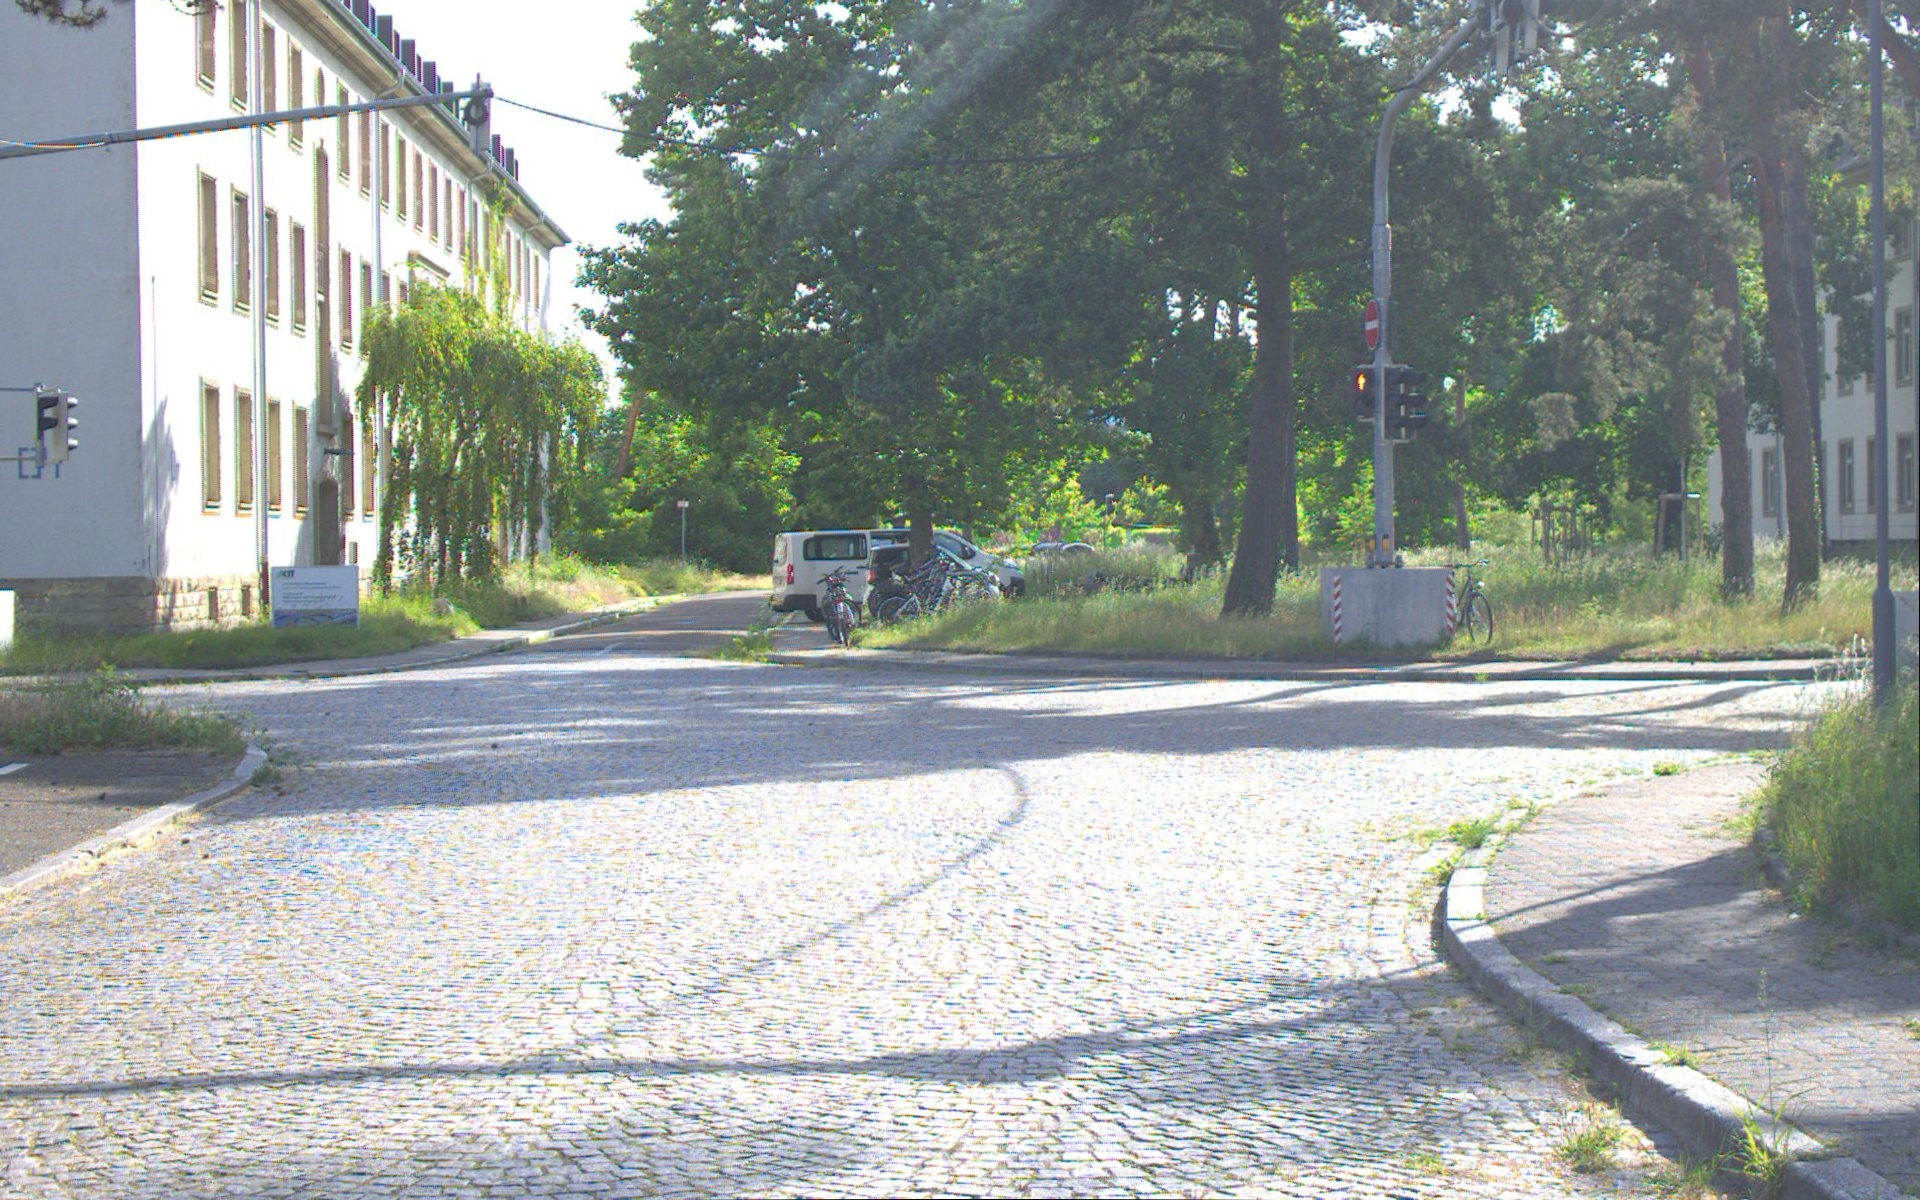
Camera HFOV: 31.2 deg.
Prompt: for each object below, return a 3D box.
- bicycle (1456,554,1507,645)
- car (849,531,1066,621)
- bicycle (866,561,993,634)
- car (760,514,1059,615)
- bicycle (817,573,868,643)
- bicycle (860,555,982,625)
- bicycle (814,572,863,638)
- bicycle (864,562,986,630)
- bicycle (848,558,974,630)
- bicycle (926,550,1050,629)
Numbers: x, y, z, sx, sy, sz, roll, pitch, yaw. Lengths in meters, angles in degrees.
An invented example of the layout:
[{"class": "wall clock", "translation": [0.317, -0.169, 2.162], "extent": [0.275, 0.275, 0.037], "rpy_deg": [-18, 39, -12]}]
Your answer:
[{"class": "bicycle", "translation": [6.267, -0.009, 41.312], "extent": [0.466, 1.076, 1.173], "rpy_deg": [-1, 0, 2]}, {"class": "car", "translation": [-0.069, -0.480, 67.083], "extent": [3.986, 1.678, 1.848], "rpy_deg": [-1, 1, -9]}, {"class": "bicycle", "translation": [-0.486, -0.041, 54.137], "extent": [1.940, 1.125, 0.750], "rpy_deg": [-1, 1, -4]}, {"class": "car", "translation": [-1.087, -0.754, 71.448], "extent": [5.929, 2.007, 2.476], "rpy_deg": [-1, 1, -8]}, {"class": "bicycle", "translation": [-1.707, 0.109, 49.823], "extent": [0.695, 0.968, 1.861], "rpy_deg": [0, 1, -3]}, {"class": "bicycle", "translation": [-0.643, -0.170, 56.468], "extent": [1.940, 1.125, 0.648], "rpy_deg": [-1, 1, -6]}, {"class": "bicycle", "translation": [-1.833, 0.064, 51.773], "extent": [0.695, 0.968, 1.861], "rpy_deg": [0, 1, -3]}, {"class": "bicycle", "translation": [-0.549, -0.070, 53.338], "extent": [1.854, 1.027, 0.750], "rpy_deg": [-1, 1, -4]}, {"class": "bicycle", "translation": [-0.782, -0.105, 55.347], "extent": [1.940, 1.125, 0.648], "rpy_deg": [-1, 1, -28]}, {"class": "bicycle", "translation": [0.441, -0.174, 54.854], "extent": [1.940, 1.231, 0.485], "rpy_deg": [-1, 1, -4]}]
